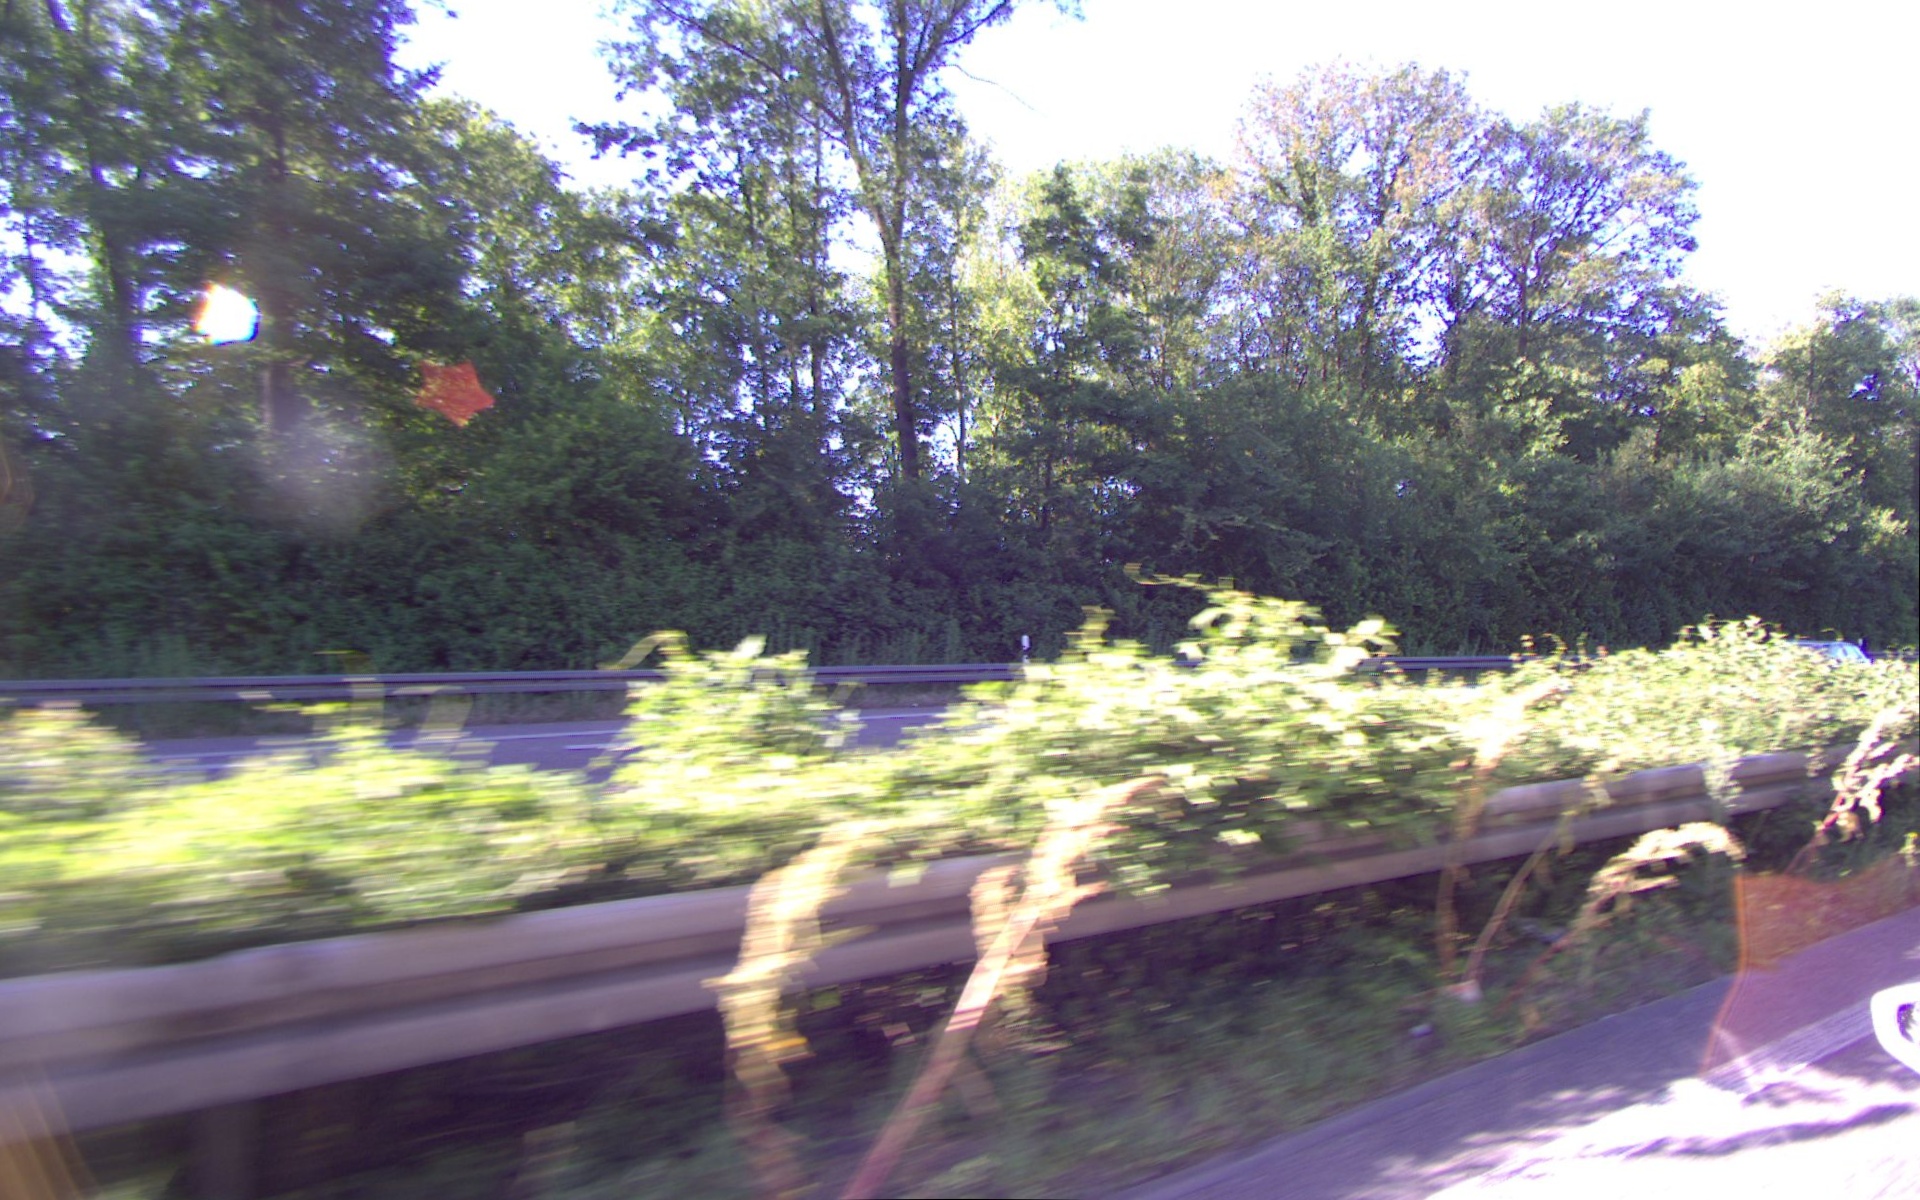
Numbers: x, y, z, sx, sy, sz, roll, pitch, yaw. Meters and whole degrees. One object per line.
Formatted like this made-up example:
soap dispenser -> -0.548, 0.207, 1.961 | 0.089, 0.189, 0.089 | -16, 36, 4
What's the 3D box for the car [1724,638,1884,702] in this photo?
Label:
car -> 21.685, 1.755, 25.779 | 4.384, 1.461, 1.791 | 2, 0, -30
